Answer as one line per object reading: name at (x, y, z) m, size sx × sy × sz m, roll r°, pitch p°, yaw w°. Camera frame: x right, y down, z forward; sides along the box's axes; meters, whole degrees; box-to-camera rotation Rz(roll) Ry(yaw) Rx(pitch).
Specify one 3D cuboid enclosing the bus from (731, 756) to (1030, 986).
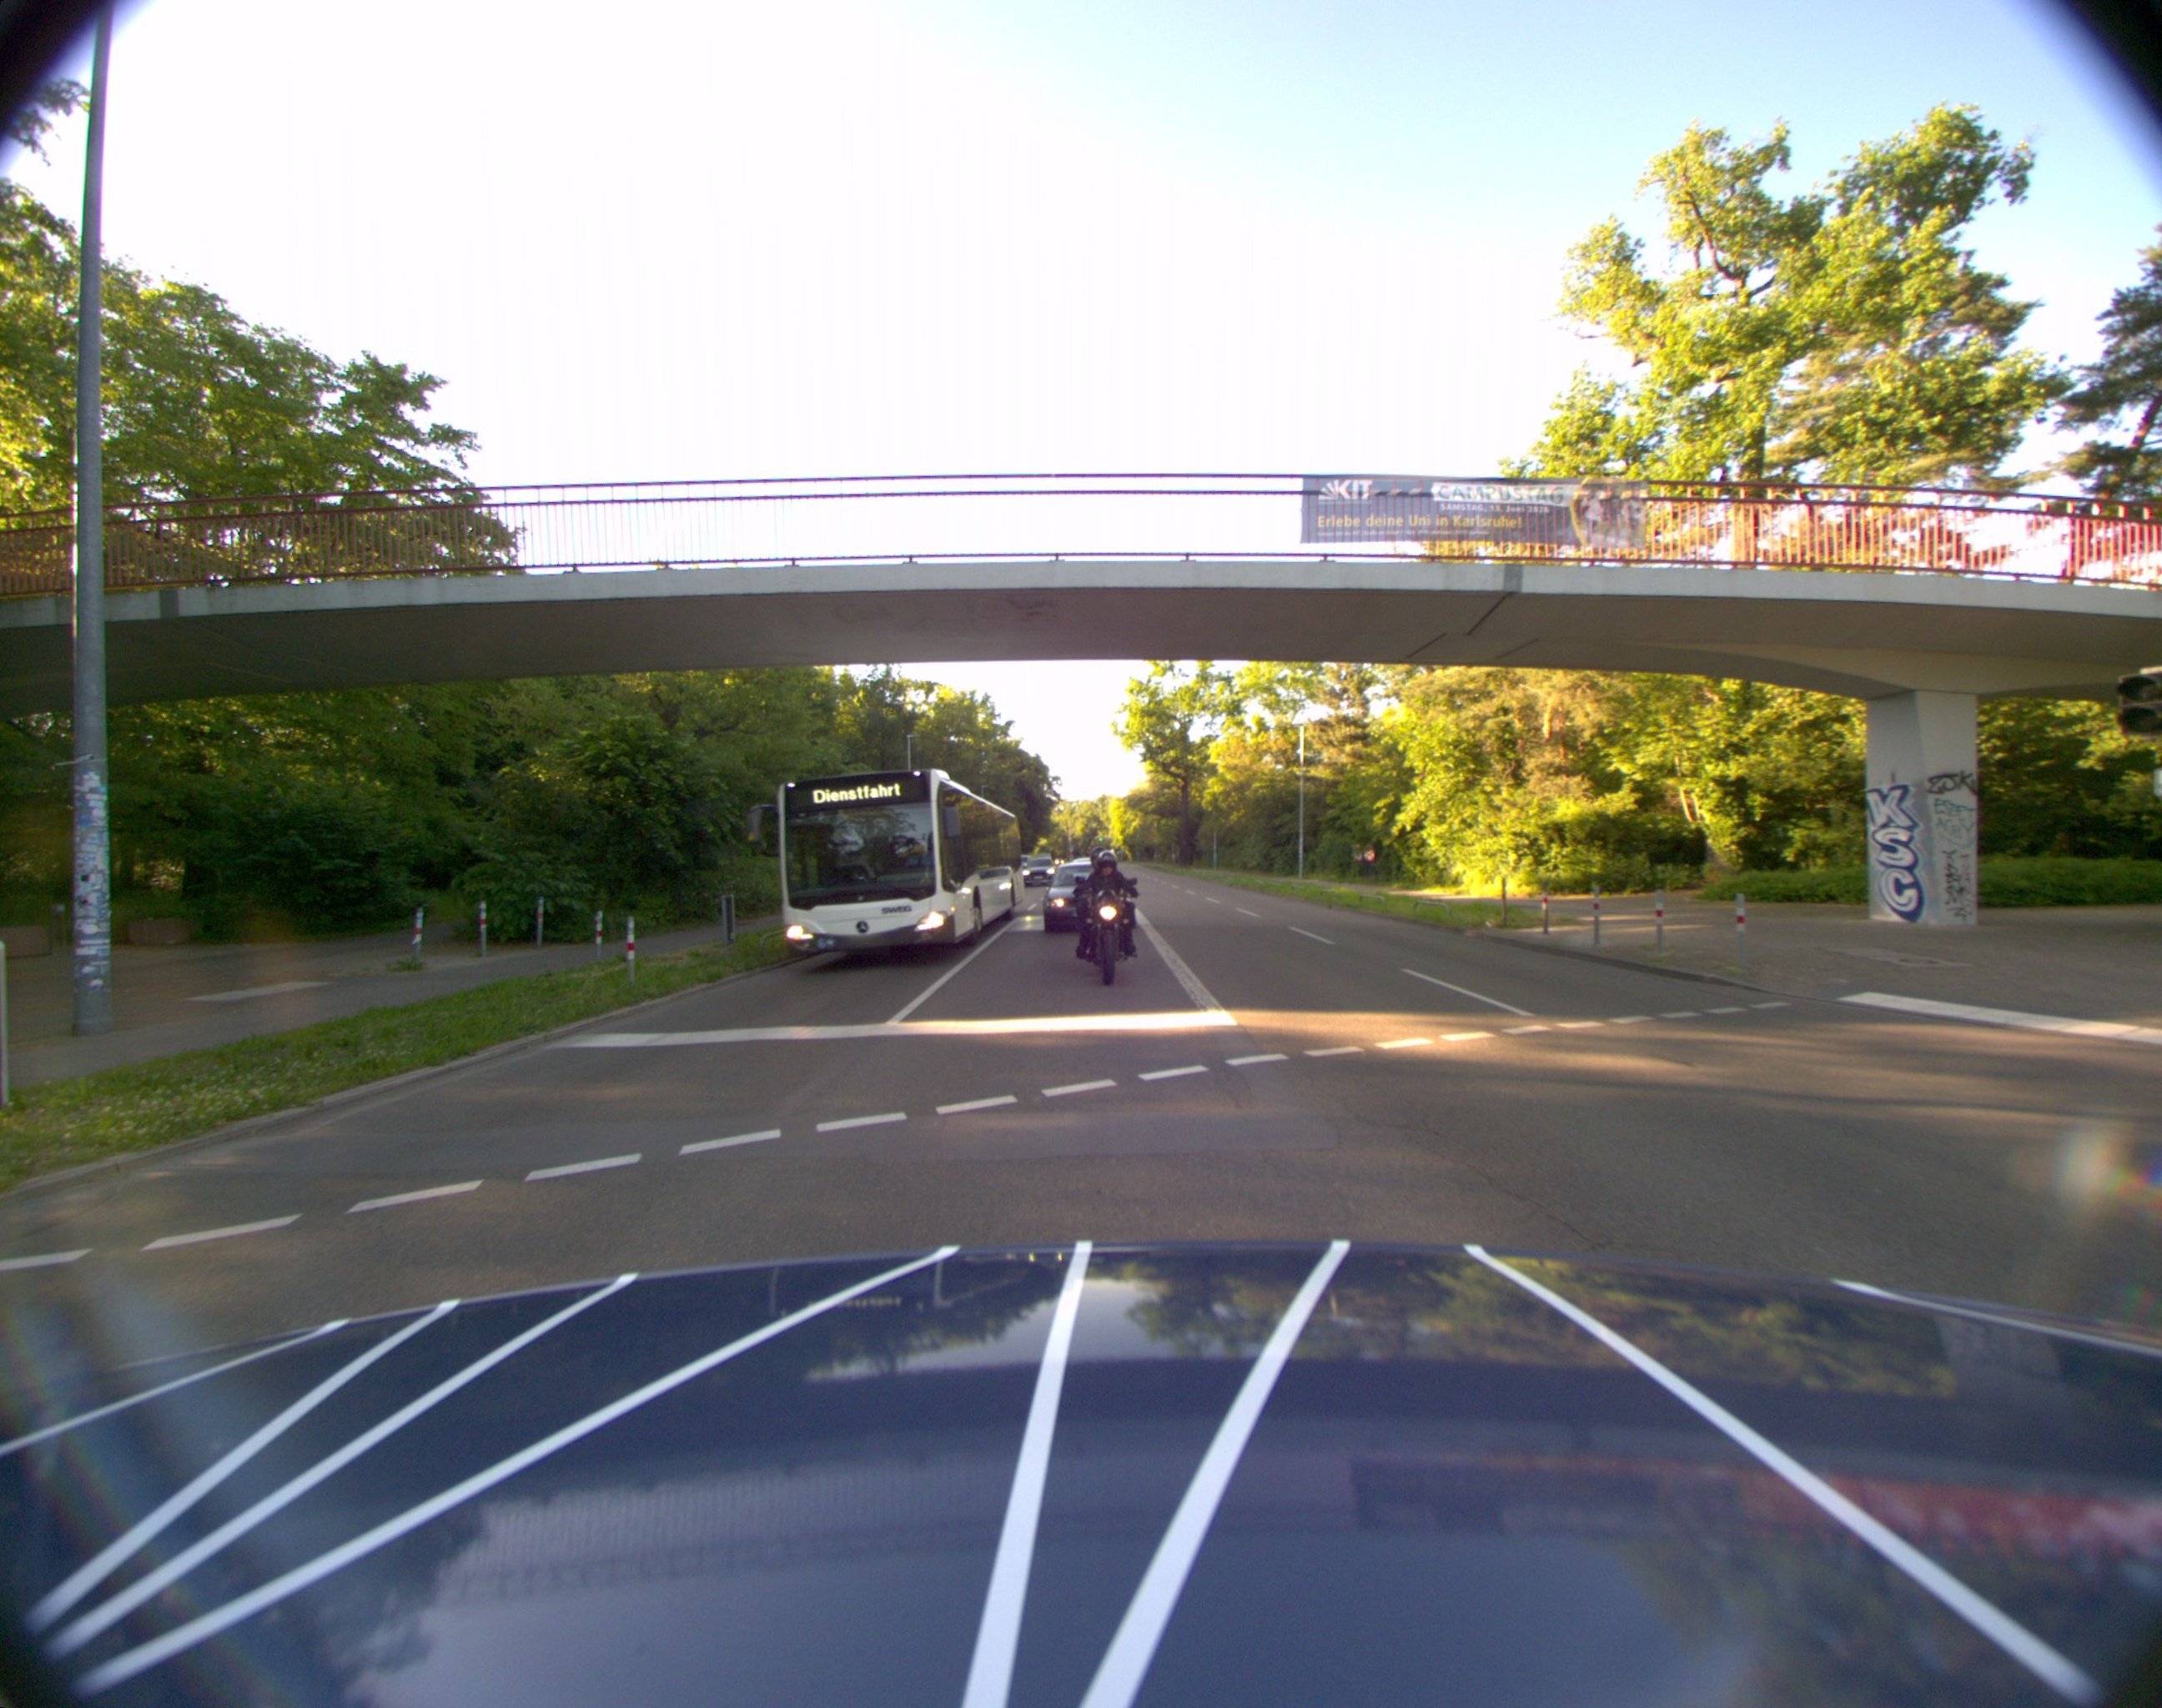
bus at (-3.252, 0.227, 16.871) m, size 3.019 × 3.069 × 12.270 m, roll -4°, pitch 0°, yaw 1°

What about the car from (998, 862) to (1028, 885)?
car at (-4.791, 1.343, 54.198) m, size 1.737 × 1.499 × 4.395 m, roll 0°, pitch 0°, yaw 0°

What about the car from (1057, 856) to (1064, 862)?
car at (-4.690, 1.168, 176.744) m, size 1.465 × 1.237 × 4.000 m, roll -1°, pitch 0°, yaw 0°

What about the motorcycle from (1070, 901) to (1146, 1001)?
motorcycle at (0.325, 1.158, 9.784) m, size 0.807 × 0.907 × 2.713 m, roll -2°, pitch 0°, yaw 1°

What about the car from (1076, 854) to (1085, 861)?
car at (-0.016, 0.730, 165.845) m, size 1.894 × 1.491 × 4.395 m, roll 0°, pitch 0°, yaw 0°

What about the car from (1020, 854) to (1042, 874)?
car at (-5.139, 0.981, 78.771) m, size 1.951 × 1.964 × 4.395 m, roll 0°, pitch 0°, yaw 0°

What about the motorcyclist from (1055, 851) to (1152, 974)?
motorcyclist at (0.297, 0.694, 9.835) m, size 1.138 × 1.419 × 1.566 m, roll -1°, pitch 1°, yaw 2°

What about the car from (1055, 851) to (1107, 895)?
car at (-0.024, 0.738, 32.305) m, size 1.999 × 1.625 × 5.886 m, roll -1°, pitch 1°, yaw 0°

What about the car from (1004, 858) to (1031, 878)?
car at (-4.960, 1.097, 59.965) m, size 1.737 × 1.499 × 4.395 m, roll 0°, pitch 0°, yaw 0°

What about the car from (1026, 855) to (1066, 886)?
car at (-2.028, 0.917, 44.888) m, size 1.993 × 1.597 × 4.362 m, roll -4°, pitch 0°, yaw 1°

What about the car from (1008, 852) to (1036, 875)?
car at (-5.160, 0.801, 66.635) m, size 2.017 × 1.964 × 5.041 m, roll 0°, pitch 0°, yaw 0°

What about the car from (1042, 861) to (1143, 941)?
car at (0.235, 0.914, 16.392) m, size 1.867 × 1.381 × 4.000 m, roll -2°, pitch 0°, yaw 0°
